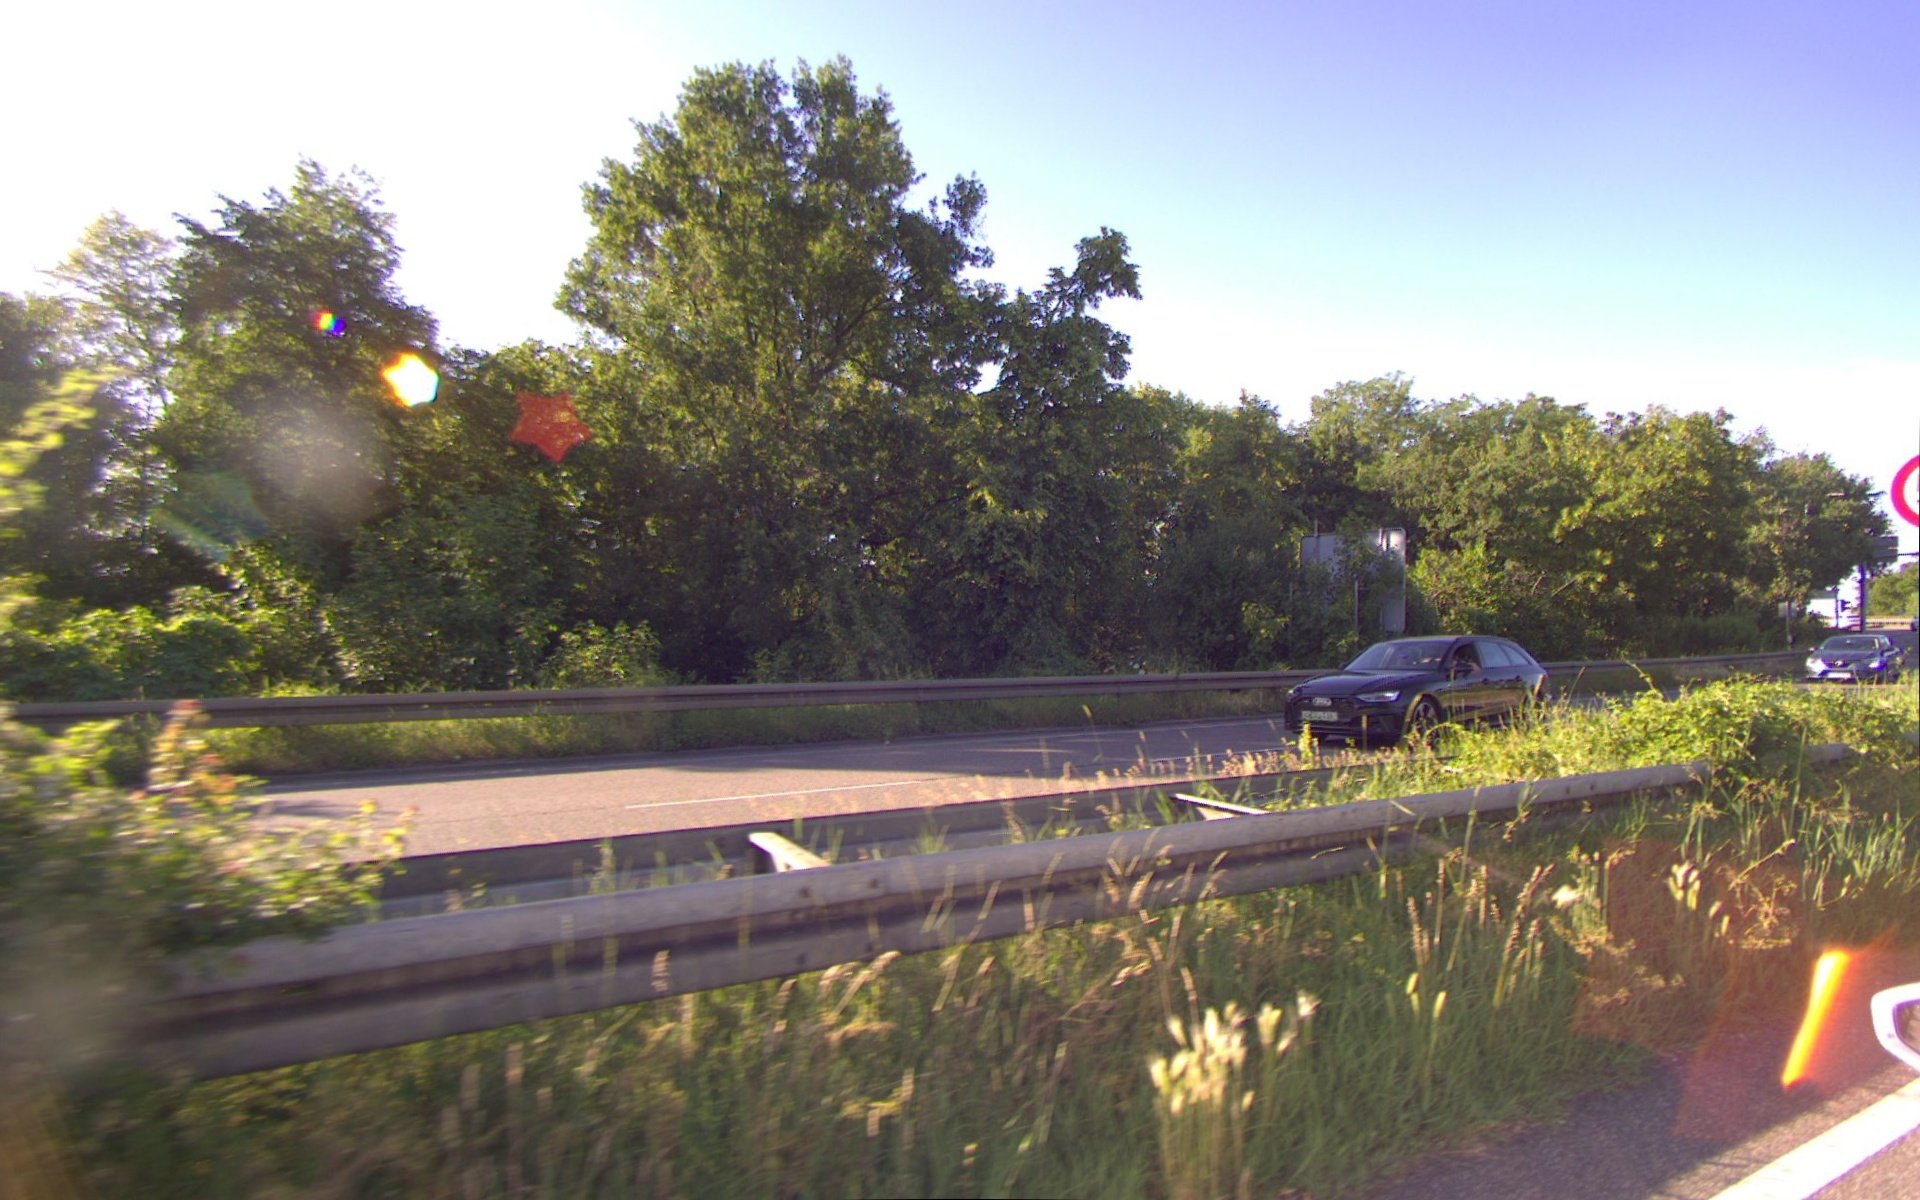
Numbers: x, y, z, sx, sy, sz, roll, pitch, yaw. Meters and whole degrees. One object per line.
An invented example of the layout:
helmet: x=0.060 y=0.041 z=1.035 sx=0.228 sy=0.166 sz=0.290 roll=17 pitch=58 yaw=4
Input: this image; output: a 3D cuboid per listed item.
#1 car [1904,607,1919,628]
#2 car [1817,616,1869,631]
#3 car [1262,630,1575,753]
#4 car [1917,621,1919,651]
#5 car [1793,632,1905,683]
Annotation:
car: x=81.698 y=1.487 z=84.453 sx=1.936 sy=1.721 sz=4.000 roll=-1 pitch=-1 yaw=19
car: x=89.031 y=2.354 z=101.349 sx=2.227 sy=1.528 sz=4.003 roll=0 pitch=-1 yaw=12
car: x=6.380 y=1.146 z=13.832 sx=4.482 sy=1.435 sz=1.795 roll=1 pitch=-2 yaw=-33
car: x=52.194 y=1.911 z=53.365 sx=1.865 sy=1.540 sz=4.192 roll=-2 pitch=-2 yaw=43
car: x=27.282 y=1.732 z=30.781 sx=4.328 sy=1.438 sz=1.871 roll=1 pitch=-4 yaw=-40
